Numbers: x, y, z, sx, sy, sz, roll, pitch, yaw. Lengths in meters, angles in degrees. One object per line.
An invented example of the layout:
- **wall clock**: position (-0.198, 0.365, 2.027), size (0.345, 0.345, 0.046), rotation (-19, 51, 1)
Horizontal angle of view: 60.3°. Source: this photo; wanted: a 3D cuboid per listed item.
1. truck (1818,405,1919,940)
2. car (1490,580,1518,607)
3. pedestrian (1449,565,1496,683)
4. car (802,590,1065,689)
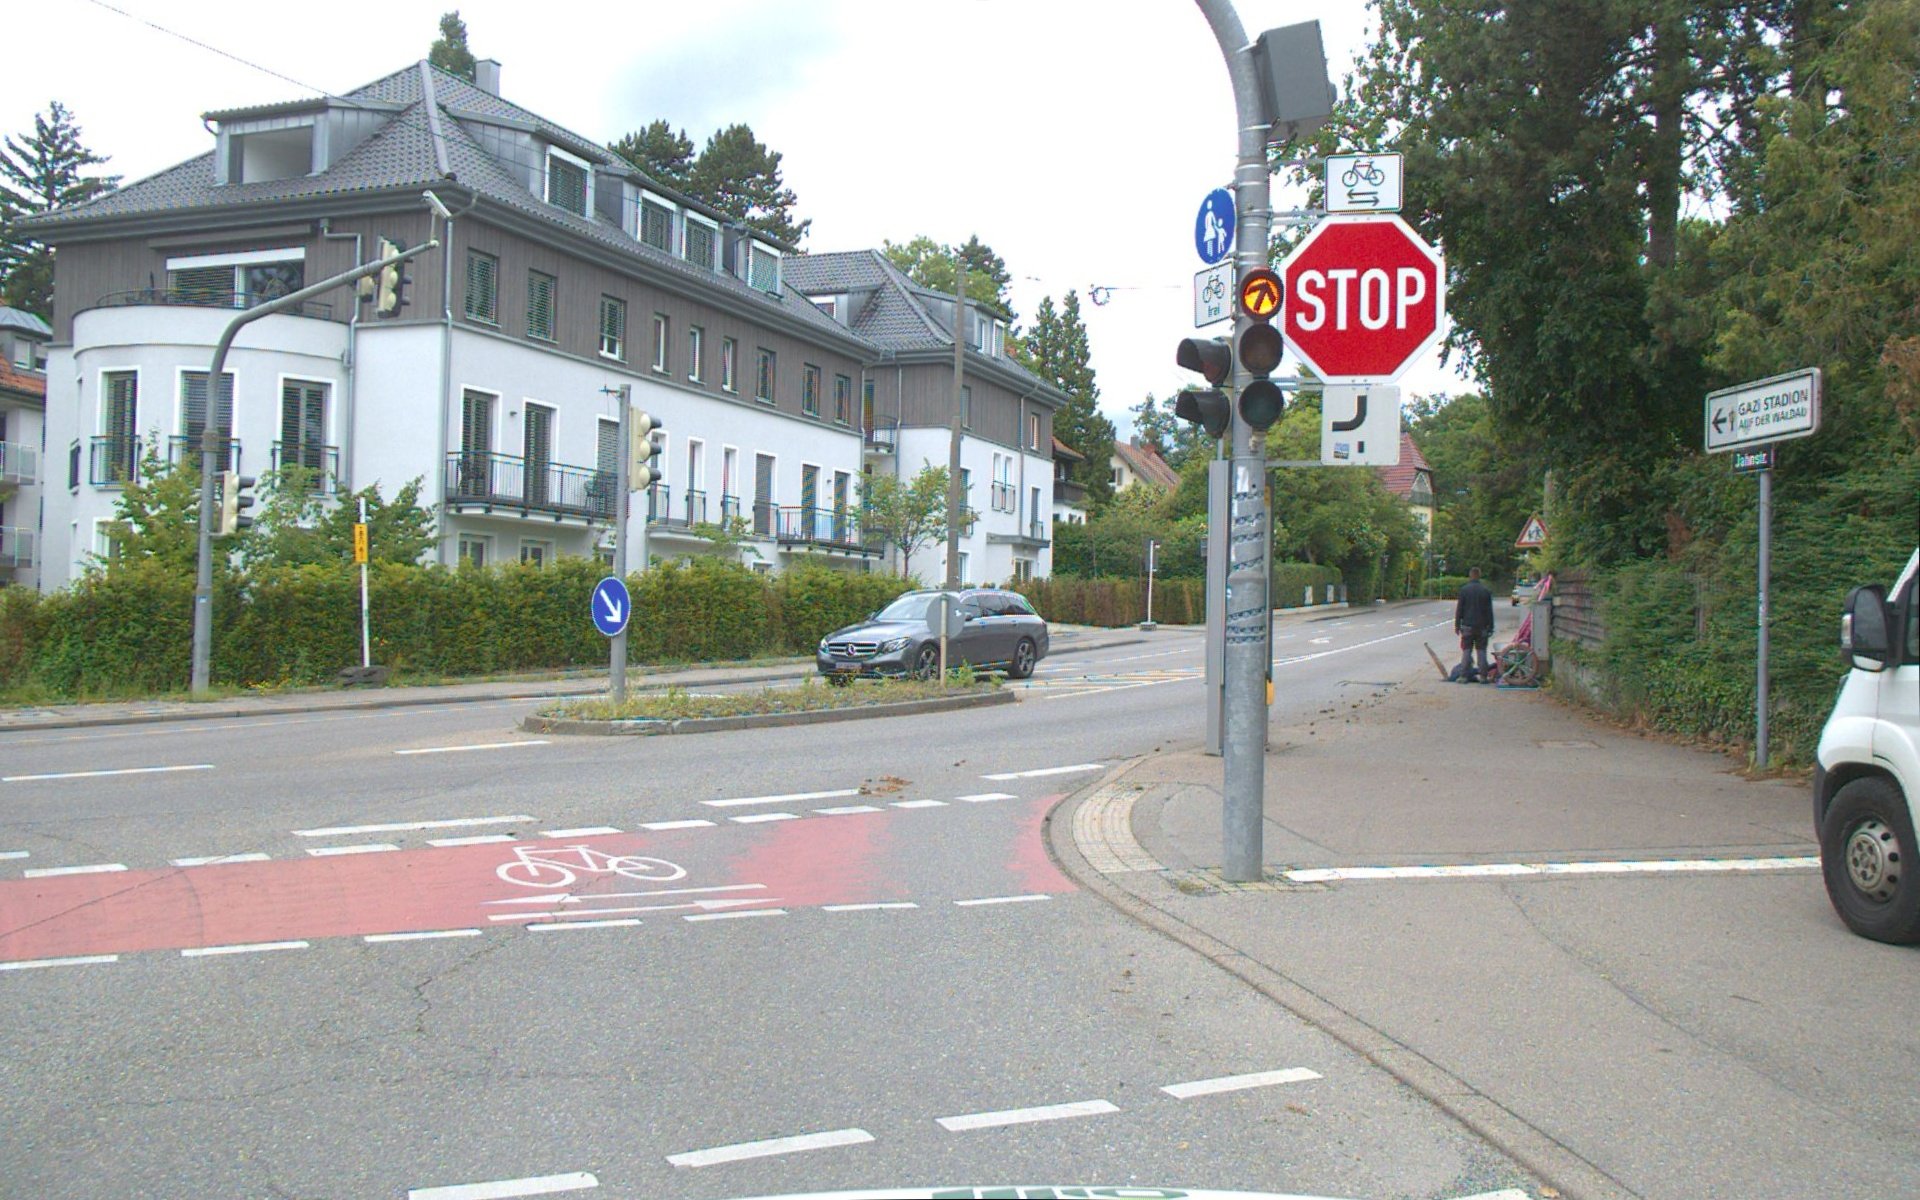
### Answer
- **truck**: position (5.136, 0.324, 5.026), size (2.162, 2.283, 5.724), rotation (1, 0, 1)
- **car**: position (38.205, -0.454, 116.115), size (1.770, 1.784, 4.488), rotation (-1, 0, 19)
- **pedestrian**: position (8.531, 0.390, 27.537), size (0.584, 1.940, 0.558), rotation (1, 0, 0)
- **car**: position (-0.318, 0.567, 26.639), size (1.905, 1.428, 4.728), rotation (1, 1, 34)
